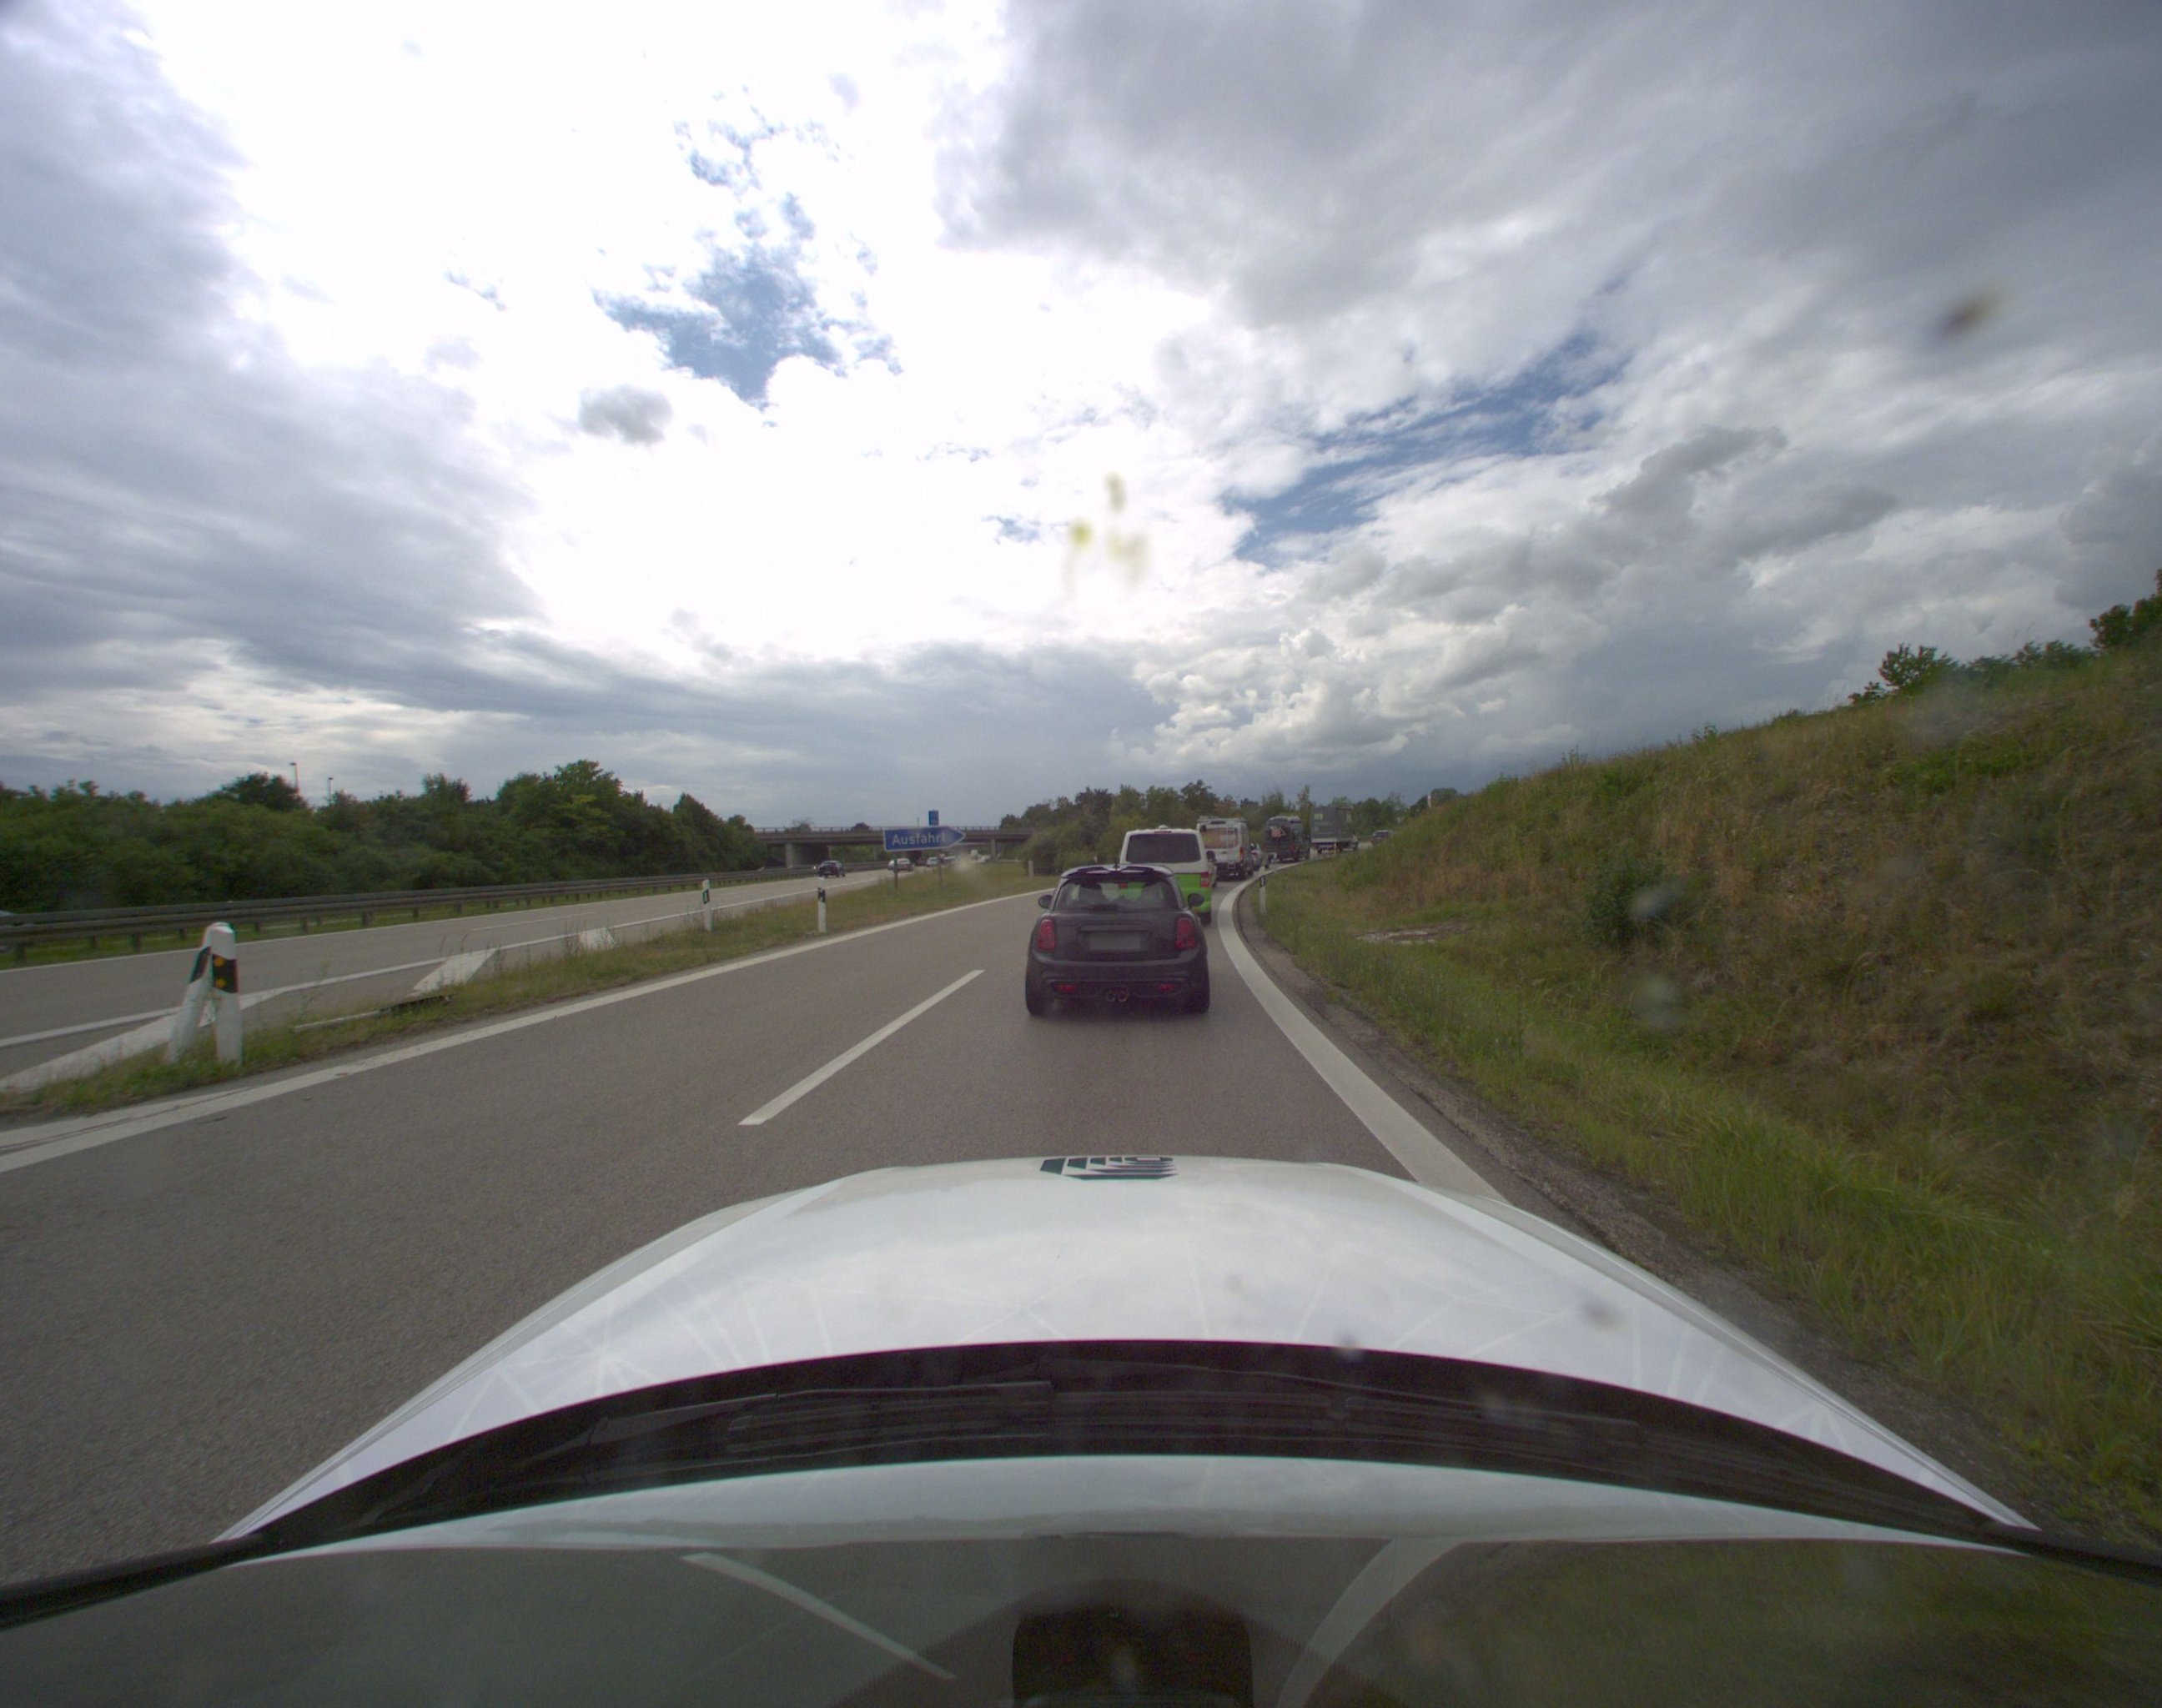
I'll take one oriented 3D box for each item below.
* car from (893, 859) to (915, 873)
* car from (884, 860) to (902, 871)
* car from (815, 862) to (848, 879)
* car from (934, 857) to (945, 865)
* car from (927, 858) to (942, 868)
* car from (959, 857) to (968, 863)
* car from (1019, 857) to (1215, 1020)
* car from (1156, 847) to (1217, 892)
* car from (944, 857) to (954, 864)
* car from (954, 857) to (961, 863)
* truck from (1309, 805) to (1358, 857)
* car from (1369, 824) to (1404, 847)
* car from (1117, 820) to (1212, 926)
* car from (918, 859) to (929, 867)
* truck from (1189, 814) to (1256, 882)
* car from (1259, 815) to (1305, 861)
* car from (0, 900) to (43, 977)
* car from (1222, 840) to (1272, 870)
[{"bbox_3d":[-19.119,1.246,88.127,1.777,1.398,4.543,-2,0,-5],"label":"car"},{"bbox_3d":[-25.412,1.505,110.203,1.778,1.398,4.296,-2,0,-7],"label":"car"},{"bbox_3d":[-21.846,1.410,71.473,1.777,1.398,4.299,-2,0,-5],"label":"car"},{"bbox_3d":[-33.041,1.586,189.930,2.092,1.670,4.300,-2,0,-4],"label":"car"},{"bbox_3d":[-23.018,1.432,127.993,1.776,1.398,4.023,-2,0,-4],"label":"car"},{"bbox_3d":[-31.363,1.543,217.382,2.092,1.670,4.300,-2,0,-4],"label":"car"},{"bbox_3d":[0.406,0.765,9.142,1.720,1.413,3.727,-1,0,2],"label":"car"},{"bbox_3d":[3.670,0.487,27.909,1.751,1.398,3.737,-2,0,11],"label":"car"},{"bbox_3d":[-34.878,1.647,215.279,2.156,1.670,4.300,-2,0,-4],"label":"car"},{"bbox_3d":[-39.164,1.860,257.869,2.067,2.014,3.990,0,-1,-7],"label":"car"},{"bbox_3d":[20.315,-1.756,65.257,2.207,3.906,6.054,-1,-1,32],"label":"truck"},{"bbox_3d":[28.383,-1.694,75.546,1.974,2.014,4.025,-1,-1,36],"label":"car"},{"bbox_3d":[1.914,0.360,17.568,1.774,2.013,4.010,-1,0,9],"label":"car"},{"bbox_3d":[-28.995,1.603,149.984,1.778,1.398,4.295,-2,0,-7],"label":"car"},{"bbox_3d":[6.211,-0.287,35.303,2.161,2.658,5.132,-2,1,17],"label":"truck"},{"bbox_3d":[12.807,-0.977,51.762,2.086,2.796,4.023,-1,0,24],"label":"car"},{"bbox_3d":[-25.322,1.972,17.166,1.993,1.684,3.988,-2,0,-8],"label":"car"},{"bbox_3d":[8.897,0.046,43.473,1.850,1.510,4.022,-2,0,22],"label":"car"}]
